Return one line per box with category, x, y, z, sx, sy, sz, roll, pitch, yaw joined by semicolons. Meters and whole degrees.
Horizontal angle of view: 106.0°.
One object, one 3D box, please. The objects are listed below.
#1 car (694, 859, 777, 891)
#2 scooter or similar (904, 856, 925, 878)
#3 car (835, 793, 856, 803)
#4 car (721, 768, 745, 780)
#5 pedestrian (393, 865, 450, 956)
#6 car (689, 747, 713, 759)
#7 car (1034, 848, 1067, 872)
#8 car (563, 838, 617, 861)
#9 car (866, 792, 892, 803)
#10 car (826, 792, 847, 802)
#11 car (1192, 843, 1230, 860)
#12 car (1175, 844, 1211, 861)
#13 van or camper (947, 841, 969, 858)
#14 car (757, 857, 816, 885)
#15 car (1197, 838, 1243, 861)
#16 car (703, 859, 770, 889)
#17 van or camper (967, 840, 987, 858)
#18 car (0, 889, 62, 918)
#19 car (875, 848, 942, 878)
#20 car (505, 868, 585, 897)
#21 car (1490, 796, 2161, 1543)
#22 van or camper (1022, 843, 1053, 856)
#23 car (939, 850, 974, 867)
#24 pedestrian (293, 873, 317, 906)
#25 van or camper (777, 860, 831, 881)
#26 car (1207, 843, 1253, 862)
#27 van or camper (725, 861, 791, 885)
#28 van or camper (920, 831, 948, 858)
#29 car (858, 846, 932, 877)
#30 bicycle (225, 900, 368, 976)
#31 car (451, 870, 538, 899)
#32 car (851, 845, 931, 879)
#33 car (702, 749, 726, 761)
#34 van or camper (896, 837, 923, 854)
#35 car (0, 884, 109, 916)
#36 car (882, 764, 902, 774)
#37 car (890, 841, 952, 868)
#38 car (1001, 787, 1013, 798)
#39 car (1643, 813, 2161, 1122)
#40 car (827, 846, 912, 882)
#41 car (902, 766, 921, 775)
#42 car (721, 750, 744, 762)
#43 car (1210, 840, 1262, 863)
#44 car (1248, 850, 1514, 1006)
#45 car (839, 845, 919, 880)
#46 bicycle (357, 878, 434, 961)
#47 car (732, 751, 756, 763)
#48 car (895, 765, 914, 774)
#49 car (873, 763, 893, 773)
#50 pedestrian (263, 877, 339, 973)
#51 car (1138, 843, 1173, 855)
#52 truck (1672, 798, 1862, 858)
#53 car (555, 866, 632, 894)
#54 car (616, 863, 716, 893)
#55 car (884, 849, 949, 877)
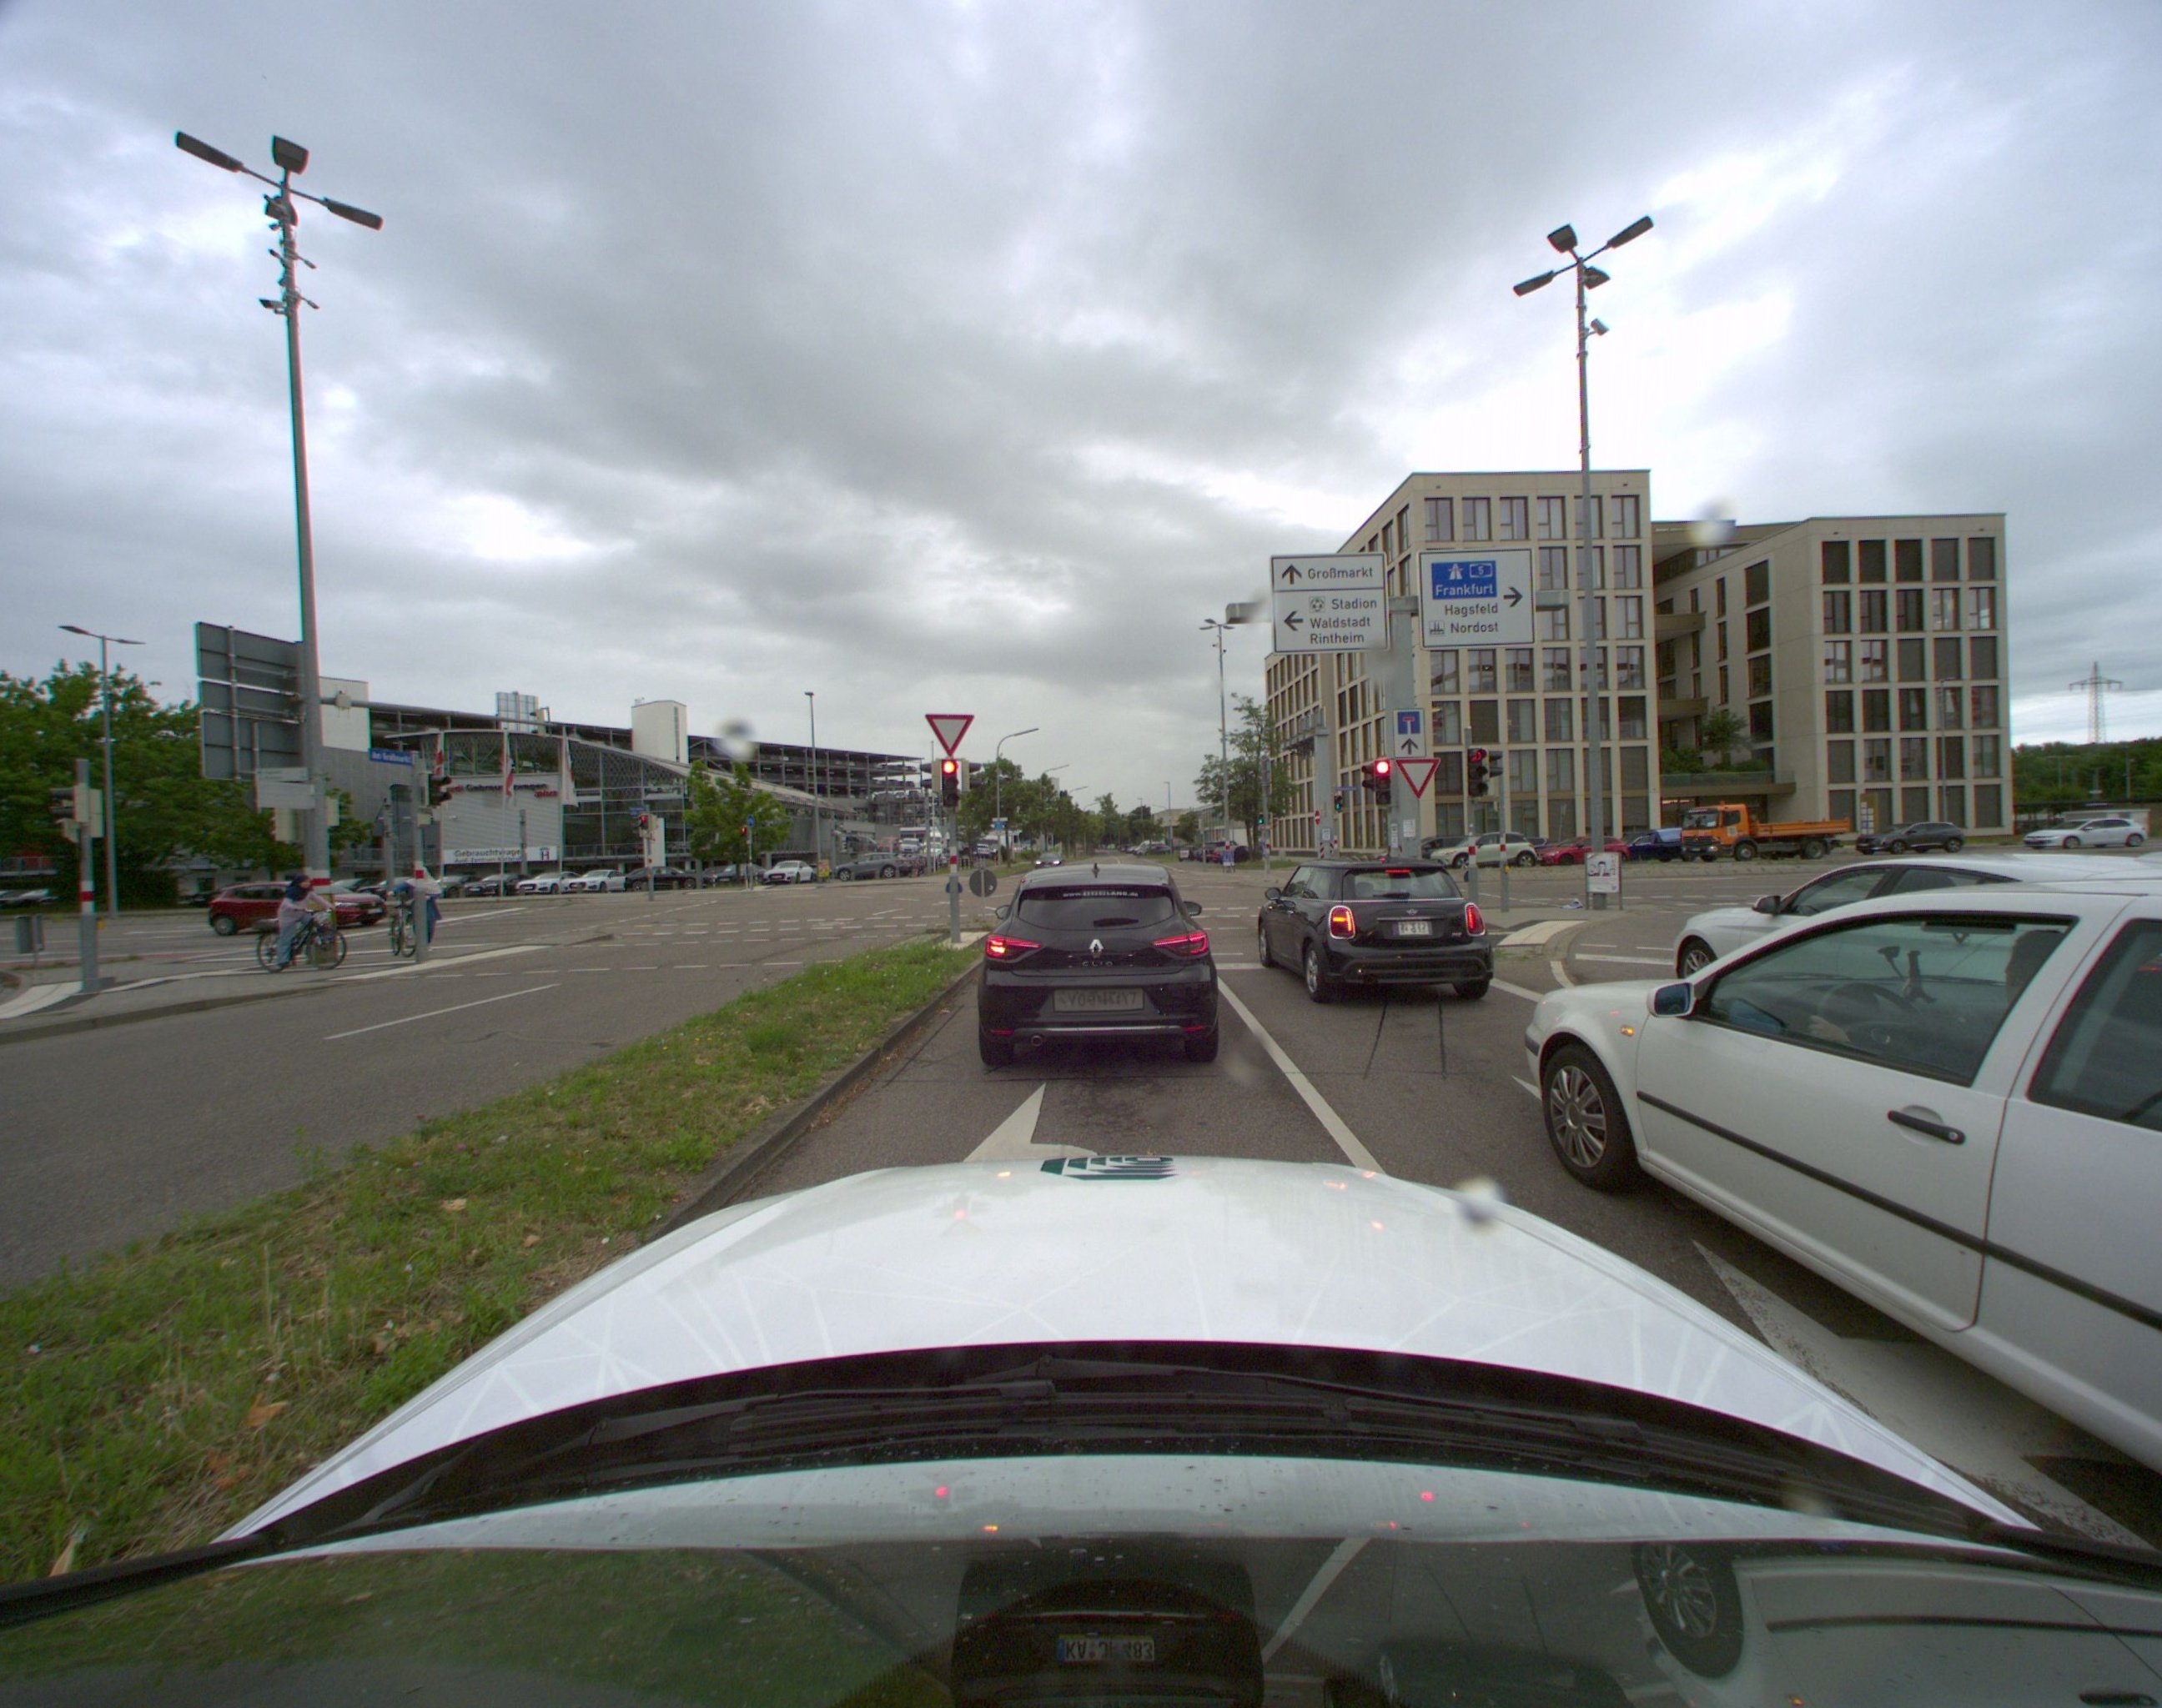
car;-23.781;1.408;56.189;4.788;1.939;1.999;-2;0;-1
scooter or similar;-9.956;0.763;48.690;0.553;1.218;1.567;1;1;16
car;-48.247;-11.452;167.104;3.948;1.667;2.013;-1;0;33
car;-62.089;-14.289;145.147;3.948;1.667;2.013;-1;0;33
pedestrian;-12.462;1.067;15.393;0.683;1.626;0.645;-5;-1;42
car;-65.633;-17.411;140.683;3.948;1.667;2.013;-1;0;33
car;-2.173;0.406;59.509;1.970;1.551;4.617;-2;1;3
car;-37.740;-0.322;62.695;1.815;1.662;3.996;0;-1;-3
car;-43.745;-12.253;176.249;5.263;1.945;2.225;-1;0;30
car;-49.452;-11.538;164.698;3.948;1.667;2.013;-1;0;33
car;12.390;-0.223;77.520;1.676;1.511;3.840;-2;-1;45
car;11.560;-0.153;83.856;3.451;1.732;1.745;0;-1;-40
van or camper;-14.339;-0.506;95.211;1.988;2.014;3.997;0;-1;-2
car;-16.891;0.987;46.928;1.863;1.486;4.227;-3;-2;-1
car;12.666;-0.415;74.109;1.975;1.965;4.271;-2;-1;43
car;-19.694;1.182;46.804;2.059;1.486;4.511;-3;-2;-3
van or camper;-12.141;-0.521;95.350;1.988;2.014;3.997;0;-1;-2
car;-60.437;2.765;45.407;1.815;1.487;4.216;0;-6;-2
car;-13.729;0.736;64.976;4.882;2.013;1.998;-4;0;-3
car;-30.101;1.603;45.884;1.865;1.486;4.041;-2;-2;-1
car;3.072;0.624;2.396;1.826;1.478;4.006;0;-1;2
van or camper;-8.057;-0.844;152.053;5.580;2.372;2.000;0;-1;0
car;-15.212;0.514;99.465;3.975;2.014;1.999;0;-1;-1
pedestrian;-45.057;2.062;47.278;0.714;1.871;0.673;-2;-2;0
van or camper;-23.745;1.400;69.988;3.977;1.711;1.846;0;-1;-2
car;12.986;-0.157;70.897;4.157;1.551;1.865;-1;-1;-43
van or camper;-23.433;1.376;59.123;3.977;1.677;1.998;0;-1;-3
van or camper;-17.186;-1.030;95.292;2.529;3.026;4.840;0;-1;-2
car;-13.592;0.541;59.661;4.938;1.876;2.050;-4;-1;-5
bicycle;-13.150;1.405;13.667;1.933;1.166;0.508;-2;-2;2
car;-32.848;1.712;45.741;1.860;1.486;4.229;-2;-2;-1
car;-13.257;0.529;57.023;5.011;2.013;2.264;-4;0;-3
car;-64.435;-17.402;142.831;3.948;1.667;2.013;-1;0;33
van or camper;-17.669;-0.821;83.934;1.988;1.651;3.997;0;-1;-2
car;-57.775;2.593;45.442;1.865;1.603;4.245;0;-6;-2
car;-41.214;-18.568;177.878;3.948;1.667;2.013;-1;0;33
car;-13.800;0.041;70.539;4.882;2.013;1.998;-4;0;-3
car;-14.534;-12.015;159.510;1.989;1.882;3.996;-2;-1;-2
car;6.088;0.525;5.710;1.819;1.410;4.206;0;-1;8
car;-13.311;0.624;51.442;4.761;1.862;1.998;-4;0;-3
car;-38.060;-18.765;183.105;3.948;1.667;2.013;-1;0;33
car;-62.138;-17.399;145.256;3.948;1.667;2.013;-1;0;33
car;12.674;-0.199;66.513;4.153;1.768;1.867;-1;-1;-38
car;3.118;0.697;9.282;1.779;1.416;3.644;0;-1;2
car;-13.333;0.566;54.015;4.690;2.013;1.998;-4;0;-3
bicycle;-12.626;1.208;14.976;1.909;1.396;0.601;-5;0;38
car;-61.013;-17.603;147.412;3.948;1.667;2.013;-1;0;33
car;-39.237;-18.724;181.188;3.948;1.667;2.013;-1;0;33
car;-42.691;-18.578;175.803;3.948;1.667;2.013;-1;0;33
pedestrian;-13.082;1.173;13.675;0.645;1.549;0.654;-2;-2;2
car;11.256;-0.729;123.451;5.158;1.720;2.143;0;-1;-1
truck;32.052;-1.173;38.230;6.633;2.638;2.820;0;-1;-1
car;-27.539;1.492;46.168;1.841;1.486;4.196;-2;-2;-1
car;-23.743;1.405;46.711;4.726;1.486;1.891;-2;-3;-2
car;-13.642;0.727;67.696;4.882;2.013;1.998;-4;0;-3
